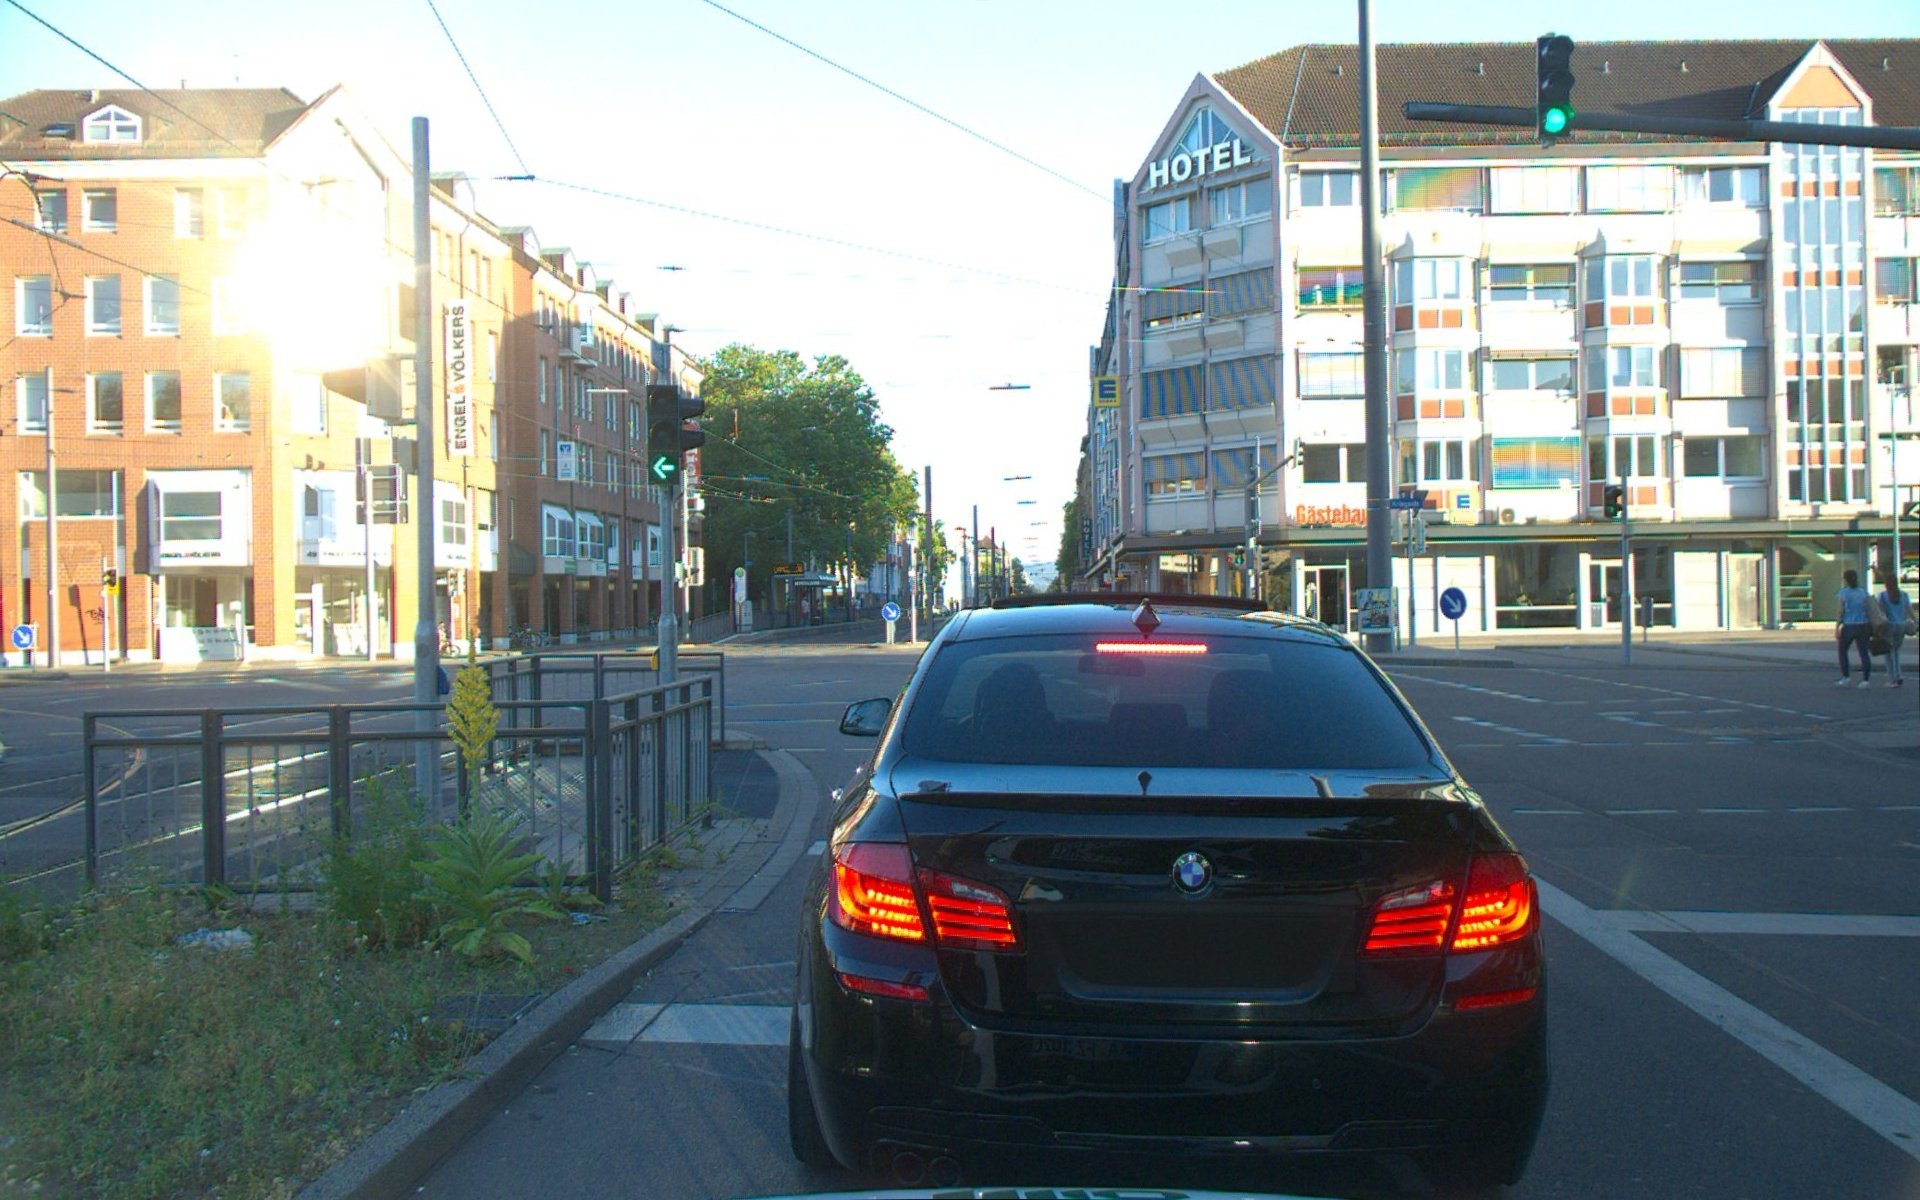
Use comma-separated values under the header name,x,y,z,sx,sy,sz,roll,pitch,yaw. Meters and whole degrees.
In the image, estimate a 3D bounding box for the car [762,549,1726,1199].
name,x,y,z,sx,sy,sz,roll,pitch,yaw
car,0.507,0.678,5.257,1.803,1.521,4.291,1,0,-1

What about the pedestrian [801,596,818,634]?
name,x,y,z,sx,sy,sz,roll,pitch,yaw
pedestrian,-8.091,0.795,89.073,0.792,2.049,0.678,-1,0,-1

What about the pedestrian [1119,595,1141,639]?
name,x,y,z,sx,sy,sz,roll,pitch,yaw
pedestrian,6.304,0.612,61.440,0.691,1.575,0.907,0,3,-1

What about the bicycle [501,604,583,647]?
name,x,y,z,sx,sy,sz,roll,pitch,yaw
bicycle,-18.096,1.089,71.577,3.228,1.756,1.070,-1,0,3

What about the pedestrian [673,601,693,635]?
name,x,y,z,sx,sy,sz,roll,pitch,yaw
pedestrian,-16.985,1.106,101.419,1.063,2.049,1.084,-1,0,-2

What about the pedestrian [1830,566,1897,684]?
name,x,y,z,sx,sy,sz,roll,pitch,yaw
pedestrian,13.184,0.358,24.126,0.713,1.678,0.768,-2,0,38

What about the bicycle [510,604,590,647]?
name,x,y,z,sx,sy,sz,roll,pitch,yaw
bicycle,-18.029,1.116,72.745,3.229,1.756,1.069,-1,0,1

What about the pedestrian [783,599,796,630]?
name,x,y,z,sx,sy,sz,roll,pitch,yaw
pedestrian,-9.208,0.771,89.277,0.573,1.686,0.678,-1,0,0

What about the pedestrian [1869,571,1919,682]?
name,x,y,z,sx,sy,sz,roll,pitch,yaw
pedestrian,13.939,0.380,24.478,0.692,1.610,0.822,-2,0,38
